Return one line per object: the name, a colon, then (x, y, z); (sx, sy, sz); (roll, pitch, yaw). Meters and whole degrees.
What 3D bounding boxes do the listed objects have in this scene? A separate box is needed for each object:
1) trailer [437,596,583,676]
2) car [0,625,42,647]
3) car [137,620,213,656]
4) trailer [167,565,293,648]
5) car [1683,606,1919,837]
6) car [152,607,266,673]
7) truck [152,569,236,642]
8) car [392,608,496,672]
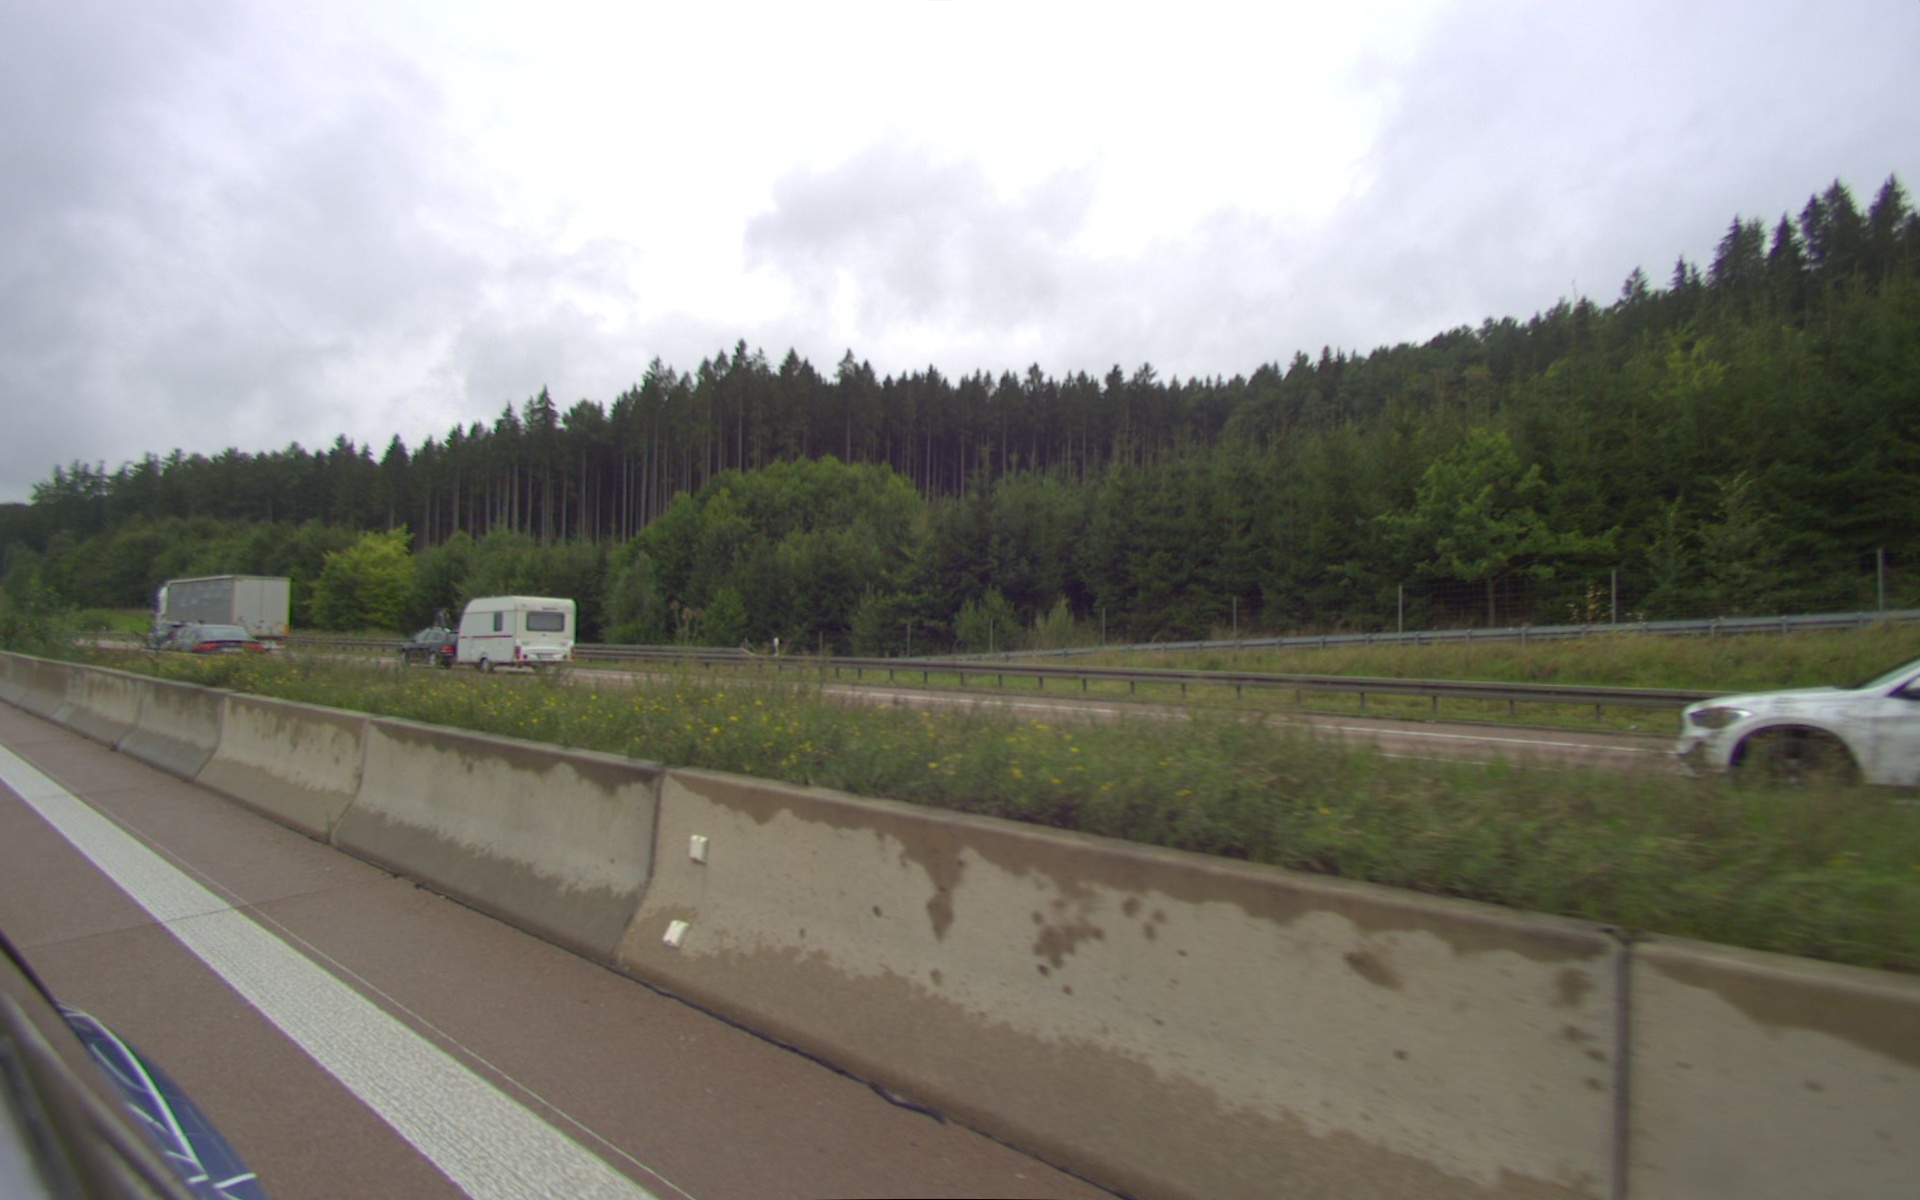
trailer: (-14.920, 1.222, 33.424); (5.434, 2.430, 2.253); (-2, -4, 41)
car: (-72.852, 2.804, 78.404); (4.277, 1.557, 1.973); (0, -2, 41)
car: (-36.294, 1.754, 46.753); (5.674, 1.569, 1.674); (-1, -3, 41)
trailer: (-40.654, 0.364, 56.104); (12.749, 4.171, 2.711); (0, -2, 41)
car: (8.436, 0.921, 7.620); (4.708, 1.678, 1.844); (0, 1, 43)
car: (-21.042, 1.048, 28.286); (4.475, 1.678, 1.652); (0, 0, 41)
truck: (-46.114, 0.352, 60.864); (5.998, 4.207, 2.740); (0, -2, 41)
car: (-18.734, 1.431, 36.658); (4.425, 2.169, 1.740); (-1, -3, 40)
